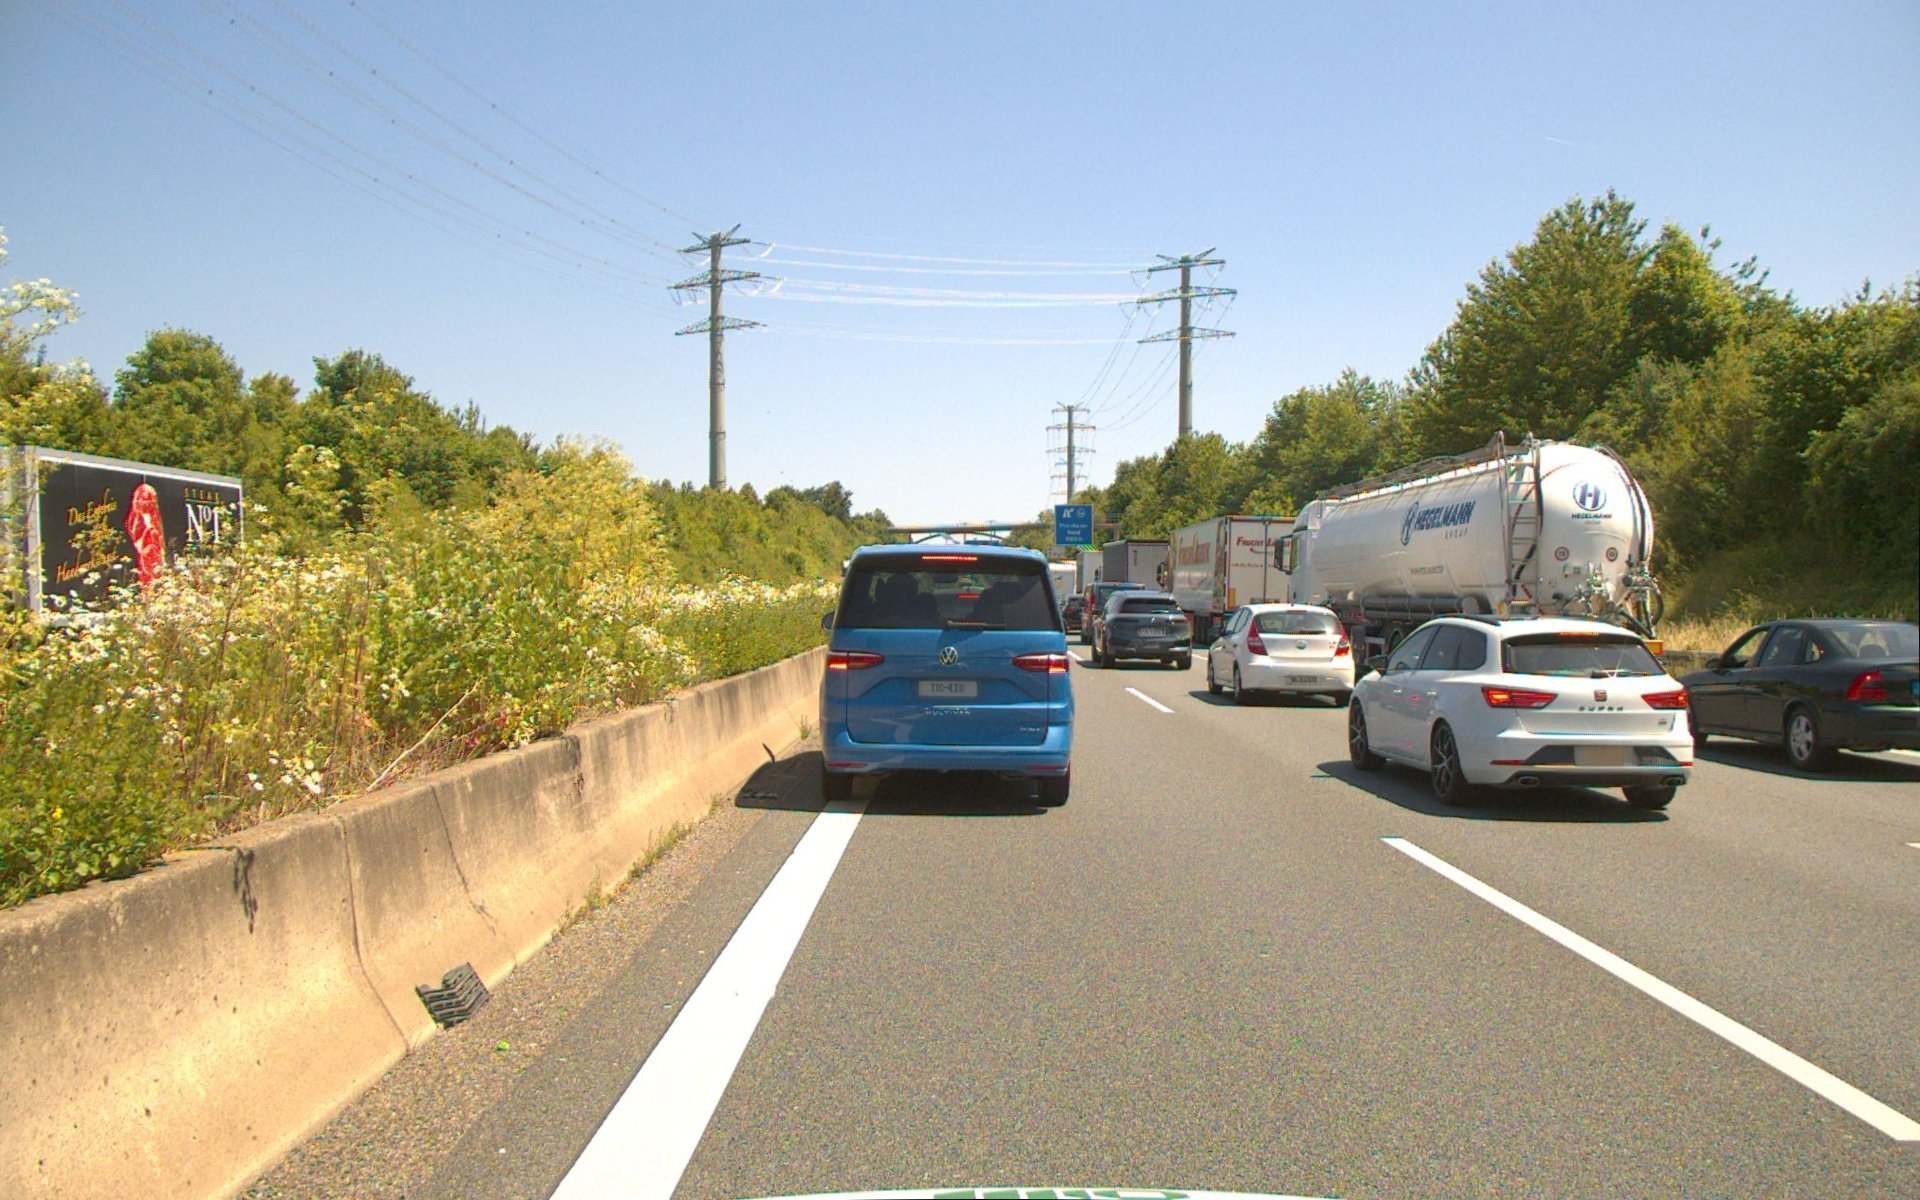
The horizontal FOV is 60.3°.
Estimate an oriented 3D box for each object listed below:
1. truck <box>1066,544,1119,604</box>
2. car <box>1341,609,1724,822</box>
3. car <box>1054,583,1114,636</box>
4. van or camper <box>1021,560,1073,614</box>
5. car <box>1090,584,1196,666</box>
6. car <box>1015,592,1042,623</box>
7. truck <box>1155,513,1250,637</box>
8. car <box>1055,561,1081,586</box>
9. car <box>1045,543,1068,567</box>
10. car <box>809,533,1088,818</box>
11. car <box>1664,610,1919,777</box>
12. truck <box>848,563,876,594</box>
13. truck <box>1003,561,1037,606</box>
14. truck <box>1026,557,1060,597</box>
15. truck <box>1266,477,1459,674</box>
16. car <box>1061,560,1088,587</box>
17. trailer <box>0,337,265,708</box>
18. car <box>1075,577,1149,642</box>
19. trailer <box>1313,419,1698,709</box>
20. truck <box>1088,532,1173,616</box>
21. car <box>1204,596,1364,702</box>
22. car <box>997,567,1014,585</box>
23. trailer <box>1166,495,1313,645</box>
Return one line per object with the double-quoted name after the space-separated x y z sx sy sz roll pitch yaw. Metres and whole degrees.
9.029 -1.662 114.039 2.835 3.832 13.345 0 0 1 "truck"
4.492 0.836 13.693 1.711 1.468 4.313 -1 -1 1 "car"
4.831 0.398 64.967 1.884 1.959 4.234 -1 -1 -2 "car"
5.043 -0.704 97.141 2.896 3.075 7.104 0 0 2 "van or camper"
4.122 0.576 37.853 1.958 1.745 4.625 -1 -1 1 "car"
4.720 0.539 114.154 1.798 2.033 4.000 -1 -1 1 "car"
9.235 -0.921 63.470 2.853 4.547 5.142 -1 0 0 "truck"
9.297 -2.271 142.641 1.952 2.049 4.000 0 0 0 "car"
8.894 -4.143 152.819 1.952 2.049 4.000 0 0 0 "car"
-0.071 0.508 13.349 1.881 1.919 4.000 1 0 0 "car"
8.679 0.842 16.530 1.607 1.441 3.989 -1 -1 1 "car"
-12.622 -2.766 214.026 2.852 3.886 11.943 1 0 0 "truck"
5.187 -1.365 144.575 2.835 3.832 10.141 0 0 1 "truck"
9.881 -2.651 197.384 3.493 4.596 10.292 0 0 0 "truck"
8.532 -0.489 35.714 2.736 3.903 5.571 -1 0 0 "truck"
9.146 -2.105 132.325 1.952 2.049 4.000 0 0 0 "car"
-14.876 -1.048 26.612 3.254 5.136 9.591 0 0 1 "trailer"
4.895 0.323 53.703 1.884 1.959 4.234 -1 -1 -2 "car"
8.650 -0.484 28.263 2.705 3.912 11.485 -1 0 0 "trailer"
8.416 -1.143 83.788 2.944 3.832 15.713 0 0 1 "truck"
4.962 0.728 25.830 1.779 1.511 4.000 -1 -1 1 "car"
5.721 -2.937 207.038 1.953 2.163 3.999 0 0 0 "car"
9.288 -0.910 56.498 2.853 4.547 12.152 -1 0 0 "trailer"
